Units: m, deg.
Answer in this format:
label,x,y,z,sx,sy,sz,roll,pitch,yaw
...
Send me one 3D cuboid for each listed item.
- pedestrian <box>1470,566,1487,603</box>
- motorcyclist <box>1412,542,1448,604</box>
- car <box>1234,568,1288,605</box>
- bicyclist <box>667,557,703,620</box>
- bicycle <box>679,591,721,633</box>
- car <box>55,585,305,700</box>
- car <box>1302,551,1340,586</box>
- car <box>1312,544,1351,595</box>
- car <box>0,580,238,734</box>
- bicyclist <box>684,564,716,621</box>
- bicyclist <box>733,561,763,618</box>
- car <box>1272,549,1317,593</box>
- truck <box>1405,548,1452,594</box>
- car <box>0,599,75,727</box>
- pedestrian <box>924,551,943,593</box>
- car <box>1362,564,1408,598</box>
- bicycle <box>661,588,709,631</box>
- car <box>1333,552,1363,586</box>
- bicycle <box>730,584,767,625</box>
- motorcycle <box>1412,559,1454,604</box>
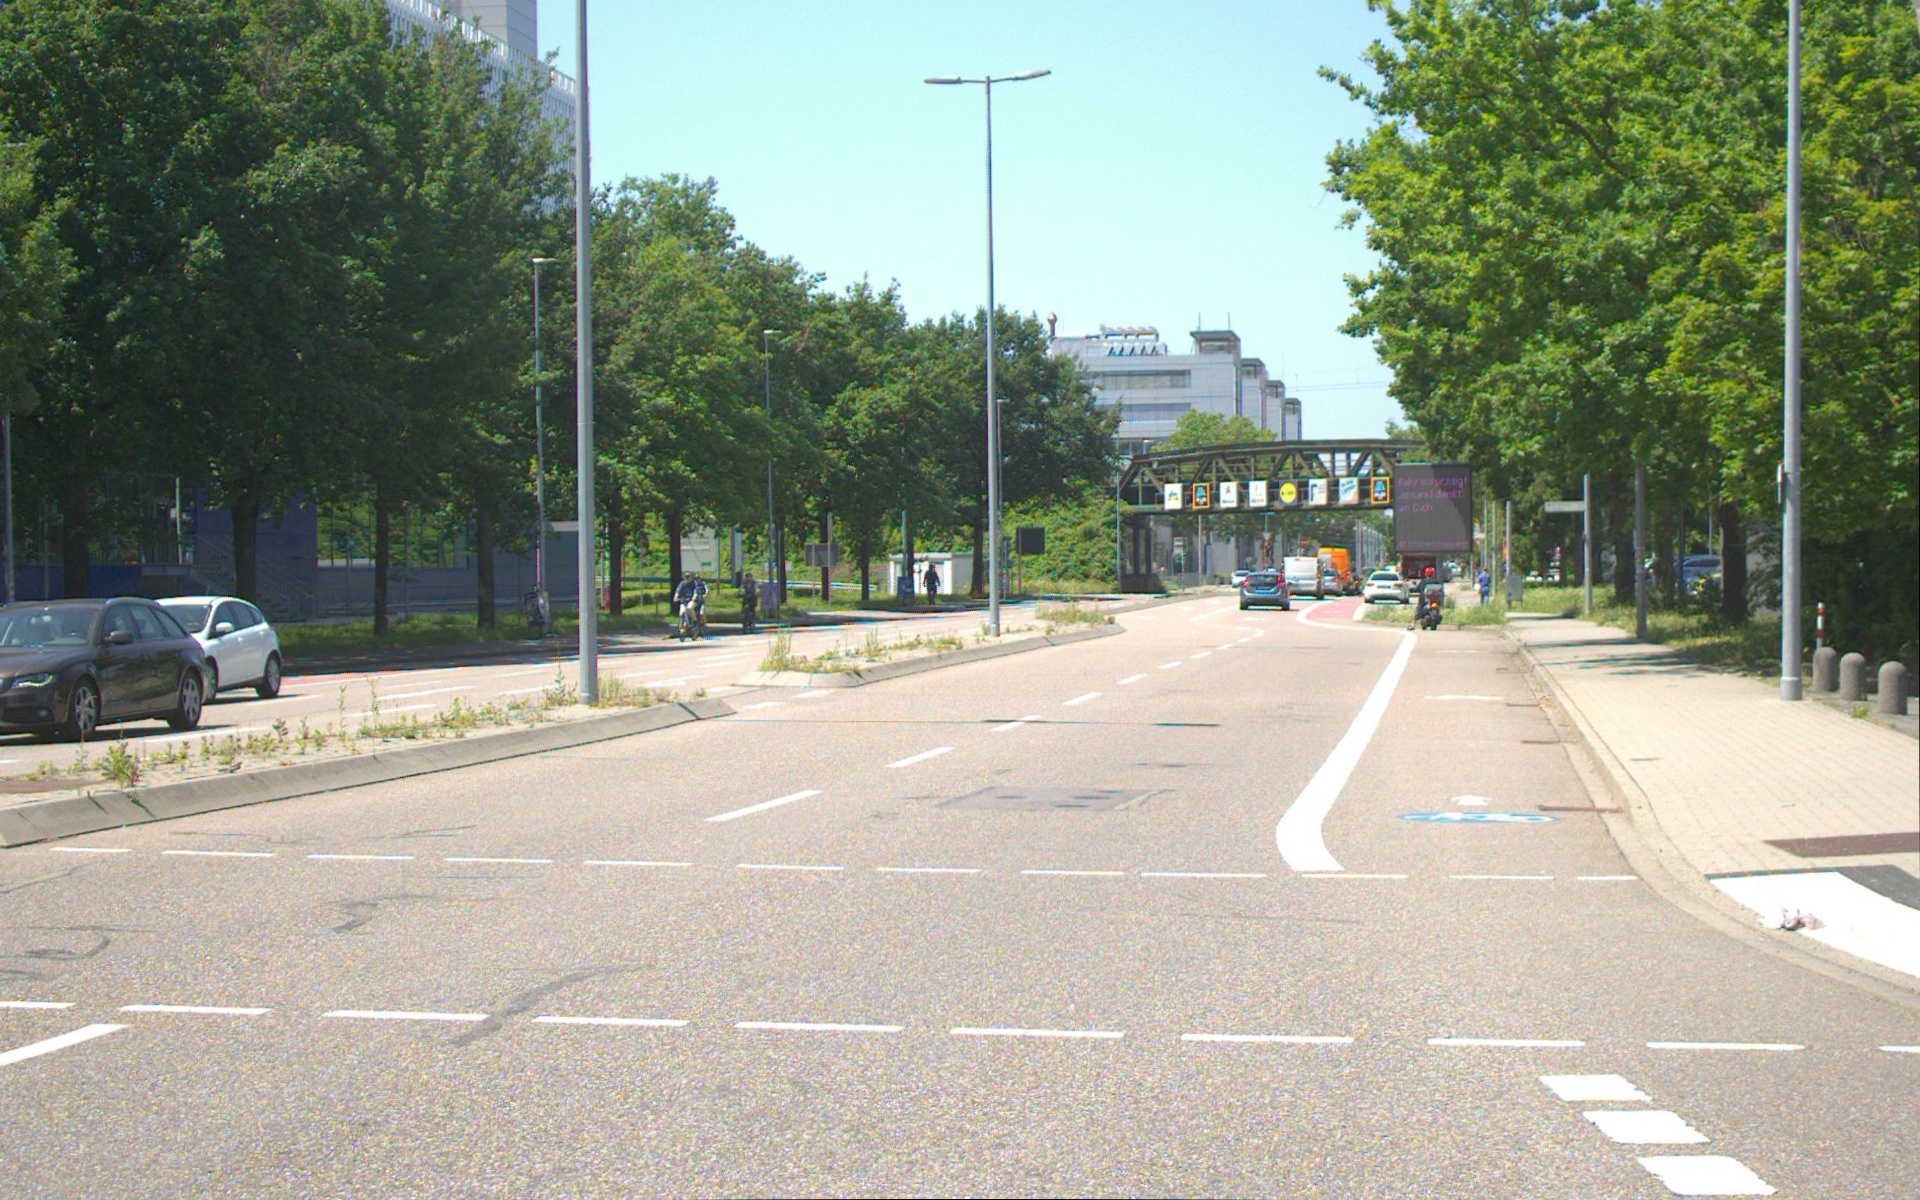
label,x,y,z,sx,sy,sz,roll,pitch,yaw
pedestrian,19.415,-0.571,128.691,0.624,1.370,0.564,0,0,7
motorcyclist,11.783,-0.674,86.239,0.719,1.524,0.871,1,0,-2
car,11.536,-0.530,131.514,1.901,1.371,4.230,0,1,7
bicyclist,-7.368,-0.318,91.974,0.745,1.680,0.952,0,0,9
bicycle,-7.215,0.337,95.538,0.637,1.130,1.969,0,0,12
car,-10.606,0.548,47.078,1.727,1.441,4.450,-2,0,10
car,19.307,-1.699,183.718,1.895,1.809,3.999,0,1,7
car,21.240,-1.751,196.178,2.073,2.845,6.763,0,1,7
car,-9.053,0.550,34.730,1.727,1.441,4.717,-2,0,11
bicyclist,-7.223,-0.218,95.516,0.637,1.577,0.884,0,0,12
bicyclist,-6.197,-0.316,100.361,0.634,1.623,1.044,-2,0,7
car,15.567,-1.342,159.883,1.994,2.007,3.999,0,1,7
truck,25.646,-1.604,188.026,2.459,2.402,7.131,1,1,8
car,-11.800,0.764,39.067,1.746,1.417,4.622,-2,1,7
pedestrian,-1.179,-1.238,153.122,0.744,1.878,0.577,0,0,9
car,18.516,-0.844,149.746,1.924,1.415,3.999,0,1,7
bicycle,-7.358,0.250,92.029,0.739,1.121,2.434,0,1,9
car,23.728,-1.909,210.065,1.751,2.007,3.870,0,1,7
bicycle,-6.171,0.133,100.455,0.629,1.155,2.117,-2,0,7
motorcycle,11.873,-0.460,86.308,0.716,1.101,1.830,1,0,-2
